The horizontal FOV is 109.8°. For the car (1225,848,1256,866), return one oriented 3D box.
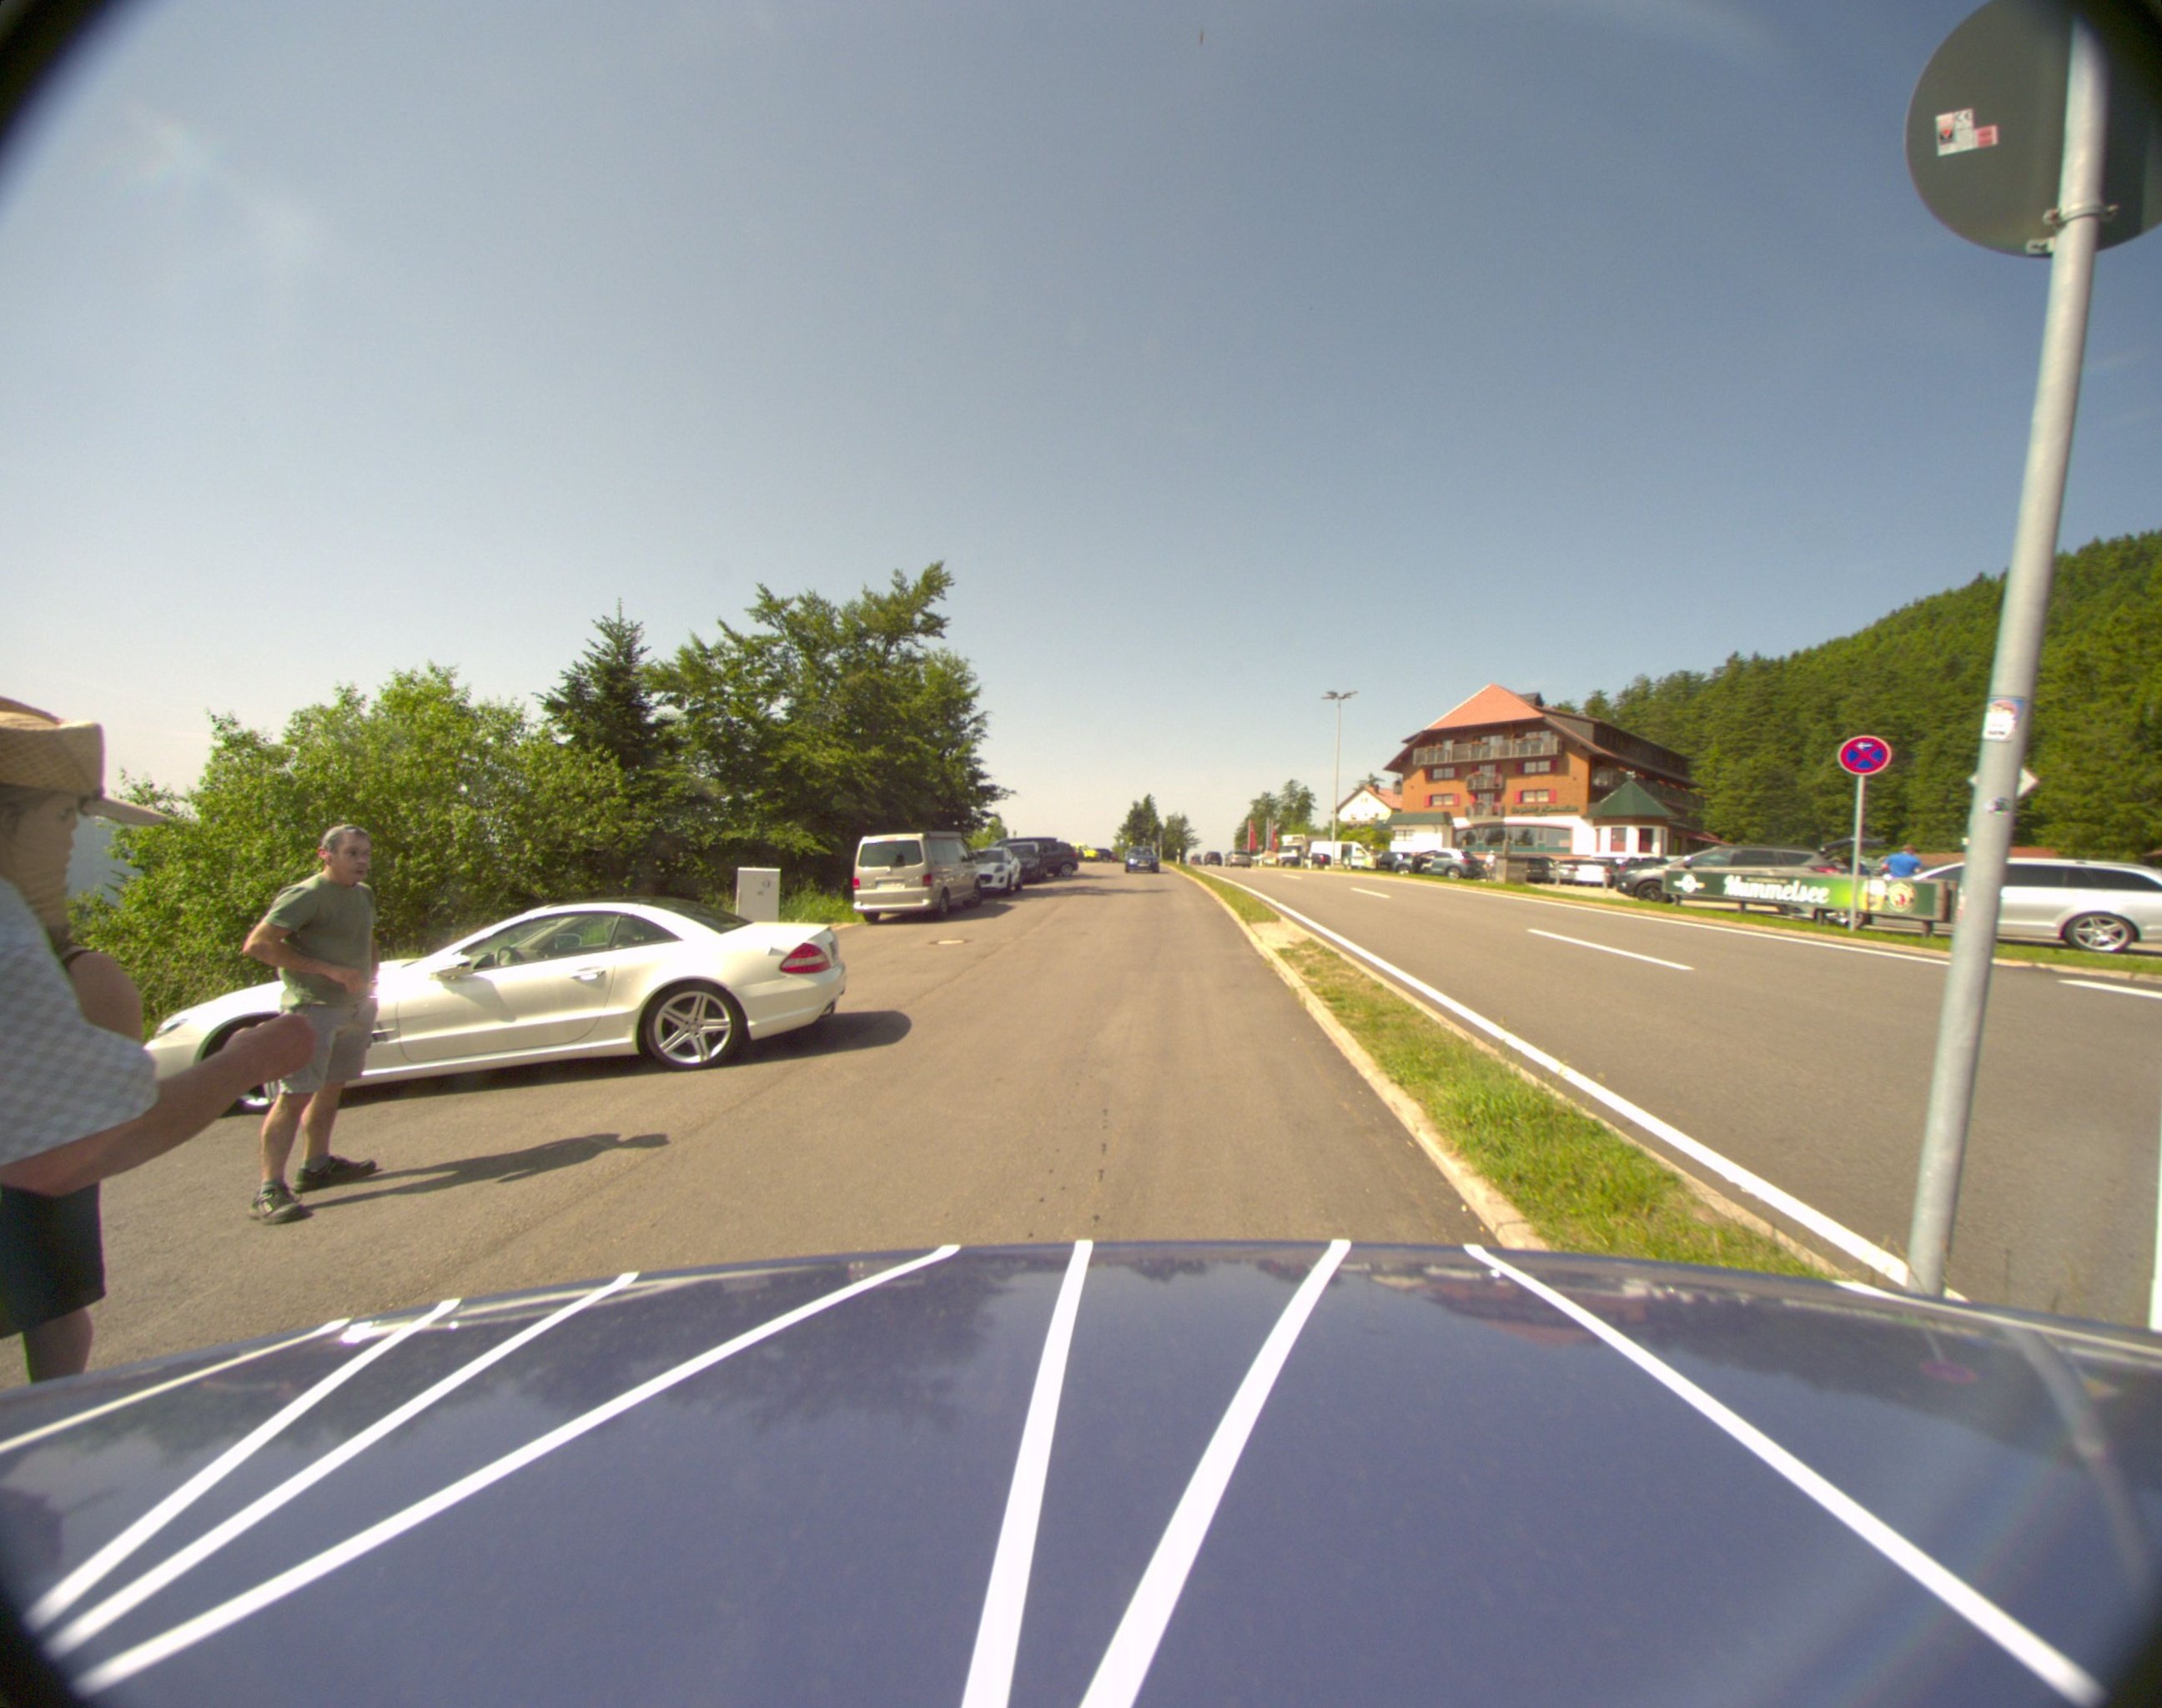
[{"bbox_3d":[13.267,0.220,63.481,1.883,1.466,4.714,0,1,4],"label":"car"}]

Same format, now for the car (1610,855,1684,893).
[{"bbox_3d":[26.406,0.907,35.410,4.103,1.619,1.818,0,2,-41],"label":"car"}]

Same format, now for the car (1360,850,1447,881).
[{"bbox_3d":[18.988,0.662,44.846,1.828,1.619,4.257,0,2,-43],"label":"car"}]

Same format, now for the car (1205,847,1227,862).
[{"bbox_3d":[15.268,0.027,86.127,1.998,1.638,4.568,1,1,4],"label":"car"}]

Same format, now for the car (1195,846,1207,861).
[{"bbox_3d":[22.160,-0.087,140.353,2.015,2.736,5.919,1,1,7],"label":"car"}]

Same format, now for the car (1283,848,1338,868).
[{"bbox_3d":[19.613,0.342,65.052,4.082,1.518,1.828,3,2,43],"label":"car"}]

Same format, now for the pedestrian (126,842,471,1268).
[{"bbox_3d":[-3.609,0.852,3.599,0.735,1.790,0.748,-2,2,-2],"label":"pedestrian"}]

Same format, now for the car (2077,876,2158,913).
[{"bbox_3d":[51.712,1.961,37.985,4.008,1.522,1.993,0,4,-40],"label":"car"}]

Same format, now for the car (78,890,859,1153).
[{"bbox_3d":[-4.136,1.091,6.001,4.413,1.288,1.754,-3,0,-13],"label":"car"}]

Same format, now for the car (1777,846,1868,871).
[{"bbox_3d":[57.040,0.323,58.541,1.924,1.706,4.831,0,2,-42],"label":"car"}]

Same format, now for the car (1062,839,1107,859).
[{"bbox_3d":[0.397,-0.522,78.794,4.454,1.914,1.877,1,1,6],"label":"car"}]

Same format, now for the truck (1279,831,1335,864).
[{"bbox_3d":[27.177,-0.757,91.059,2.876,3.798,9.036,0,0,42],"label":"truck"}]

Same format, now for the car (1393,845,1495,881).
[{"bbox_3d":[18.340,0.412,38.504,1.828,1.619,4.257,0,2,-43],"label":"car"}]

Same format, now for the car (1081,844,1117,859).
[{"bbox_3d":[2.028,-0.282,85.064,3.908,1.605,1.877,1,1,6],"label":"car"}]

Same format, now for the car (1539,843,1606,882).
[{"bbox_3d":[26.885,0.445,41.510,4.008,2.002,1.994,0,2,-41],"label":"car"}]

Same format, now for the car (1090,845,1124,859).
[{"bbox_3d":[3.165,-0.228,91.753,3.908,1.605,1.877,1,1,6],"label":"car"}]

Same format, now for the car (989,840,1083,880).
[{"bbox_3d":[-2.116,0.254,35.410,4.002,1.609,1.874,-3,1,-15],"label":"car"}]

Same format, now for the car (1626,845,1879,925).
[{"bbox_3d":[16.615,0.674,19.010,1.726,1.647,4.538,0,2,-45],"label":"car"}]

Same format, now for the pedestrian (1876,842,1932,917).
[{"bbox_3d":[18.481,0.553,17.086,0.744,1.626,0.849,3,2,44],"label":"pedestrian"}]

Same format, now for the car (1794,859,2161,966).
[{"bbox_3d":[15.424,0.884,13.062,1.726,1.422,4.488,0,2,-44],"label":"car"}]

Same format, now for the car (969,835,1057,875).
[{"bbox_3d":[-3.724,0.020,41.358,4.462,1.914,1.874,-3,1,-15],"label":"car"}]

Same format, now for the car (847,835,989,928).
[{"bbox_3d":[-3.766,0.557,18.514,1.861,1.924,4.611,-2,1,7],"label":"car"}]

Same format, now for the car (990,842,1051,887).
[{"bbox_3d":[-2.380,0.380,30.903,1.874,1.609,4.000,-2,1,3],"label":"car"}]

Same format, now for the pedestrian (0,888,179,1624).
[{"bbox_3d":[-2.760,0.905,1.708,0.715,1.604,0.536,-2,2,2],"label":"pedestrian"}]

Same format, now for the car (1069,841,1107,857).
[{"bbox_3d":[0.753,-0.566,82.287,3.908,1.605,1.877,1,1,6],"label":"car"}]

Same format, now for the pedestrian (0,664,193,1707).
[{"bbox_3d":[-1.577,0.726,0.675,0.757,1.859,0.738,-1,-1,10],"label":"pedestrian"}]

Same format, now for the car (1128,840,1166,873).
[{"bbox_3d":[3.455,0.107,40.272,1.874,1.605,3.913,1,1,4],"label":"car"}]

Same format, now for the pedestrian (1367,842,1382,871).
[{"bbox_3d":[20.451,0.166,52.879,0.717,2.002,0.803,1,2,3],"label":"pedestrian"}]

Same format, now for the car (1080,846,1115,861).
[{"bbox_3d":[1.912,-0.037,87.802,3.908,1.605,1.877,1,1,6],"label":"car"}]

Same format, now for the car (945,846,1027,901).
[{"bbox_3d":[-2.992,0.573,24.709,1.874,1.538,4.000,-2,1,3],"label":"car"}]

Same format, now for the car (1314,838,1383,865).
[{"bbox_3d":[29.396,-0.286,83.573,6.948,2.775,2.671,2,2,23],"label":"car"}]

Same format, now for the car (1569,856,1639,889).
[{"bbox_3d":[26.293,0.885,38.162,4.103,1.504,1.818,0,2,-41],"label":"car"}]

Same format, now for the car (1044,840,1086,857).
[{"bbox_3d":[-1.575,-0.609,76.266,3.908,1.605,1.877,1,1,6],"label":"car"}]

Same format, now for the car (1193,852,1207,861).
[{"bbox_3d":[18.829,0.379,120.029,1.710,1.429,4.450,1,1,3],"label":"car"}]

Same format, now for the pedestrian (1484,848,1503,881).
[{"bbox_3d":[21.158,0.530,38.958,0.744,1.615,0.684,2,2,34],"label":"pedestrian"}]

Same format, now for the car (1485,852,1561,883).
[{"bbox_3d":[22.991,0.684,39.725,1.720,1.422,4.000,2,1,2],"label":"car"}]
